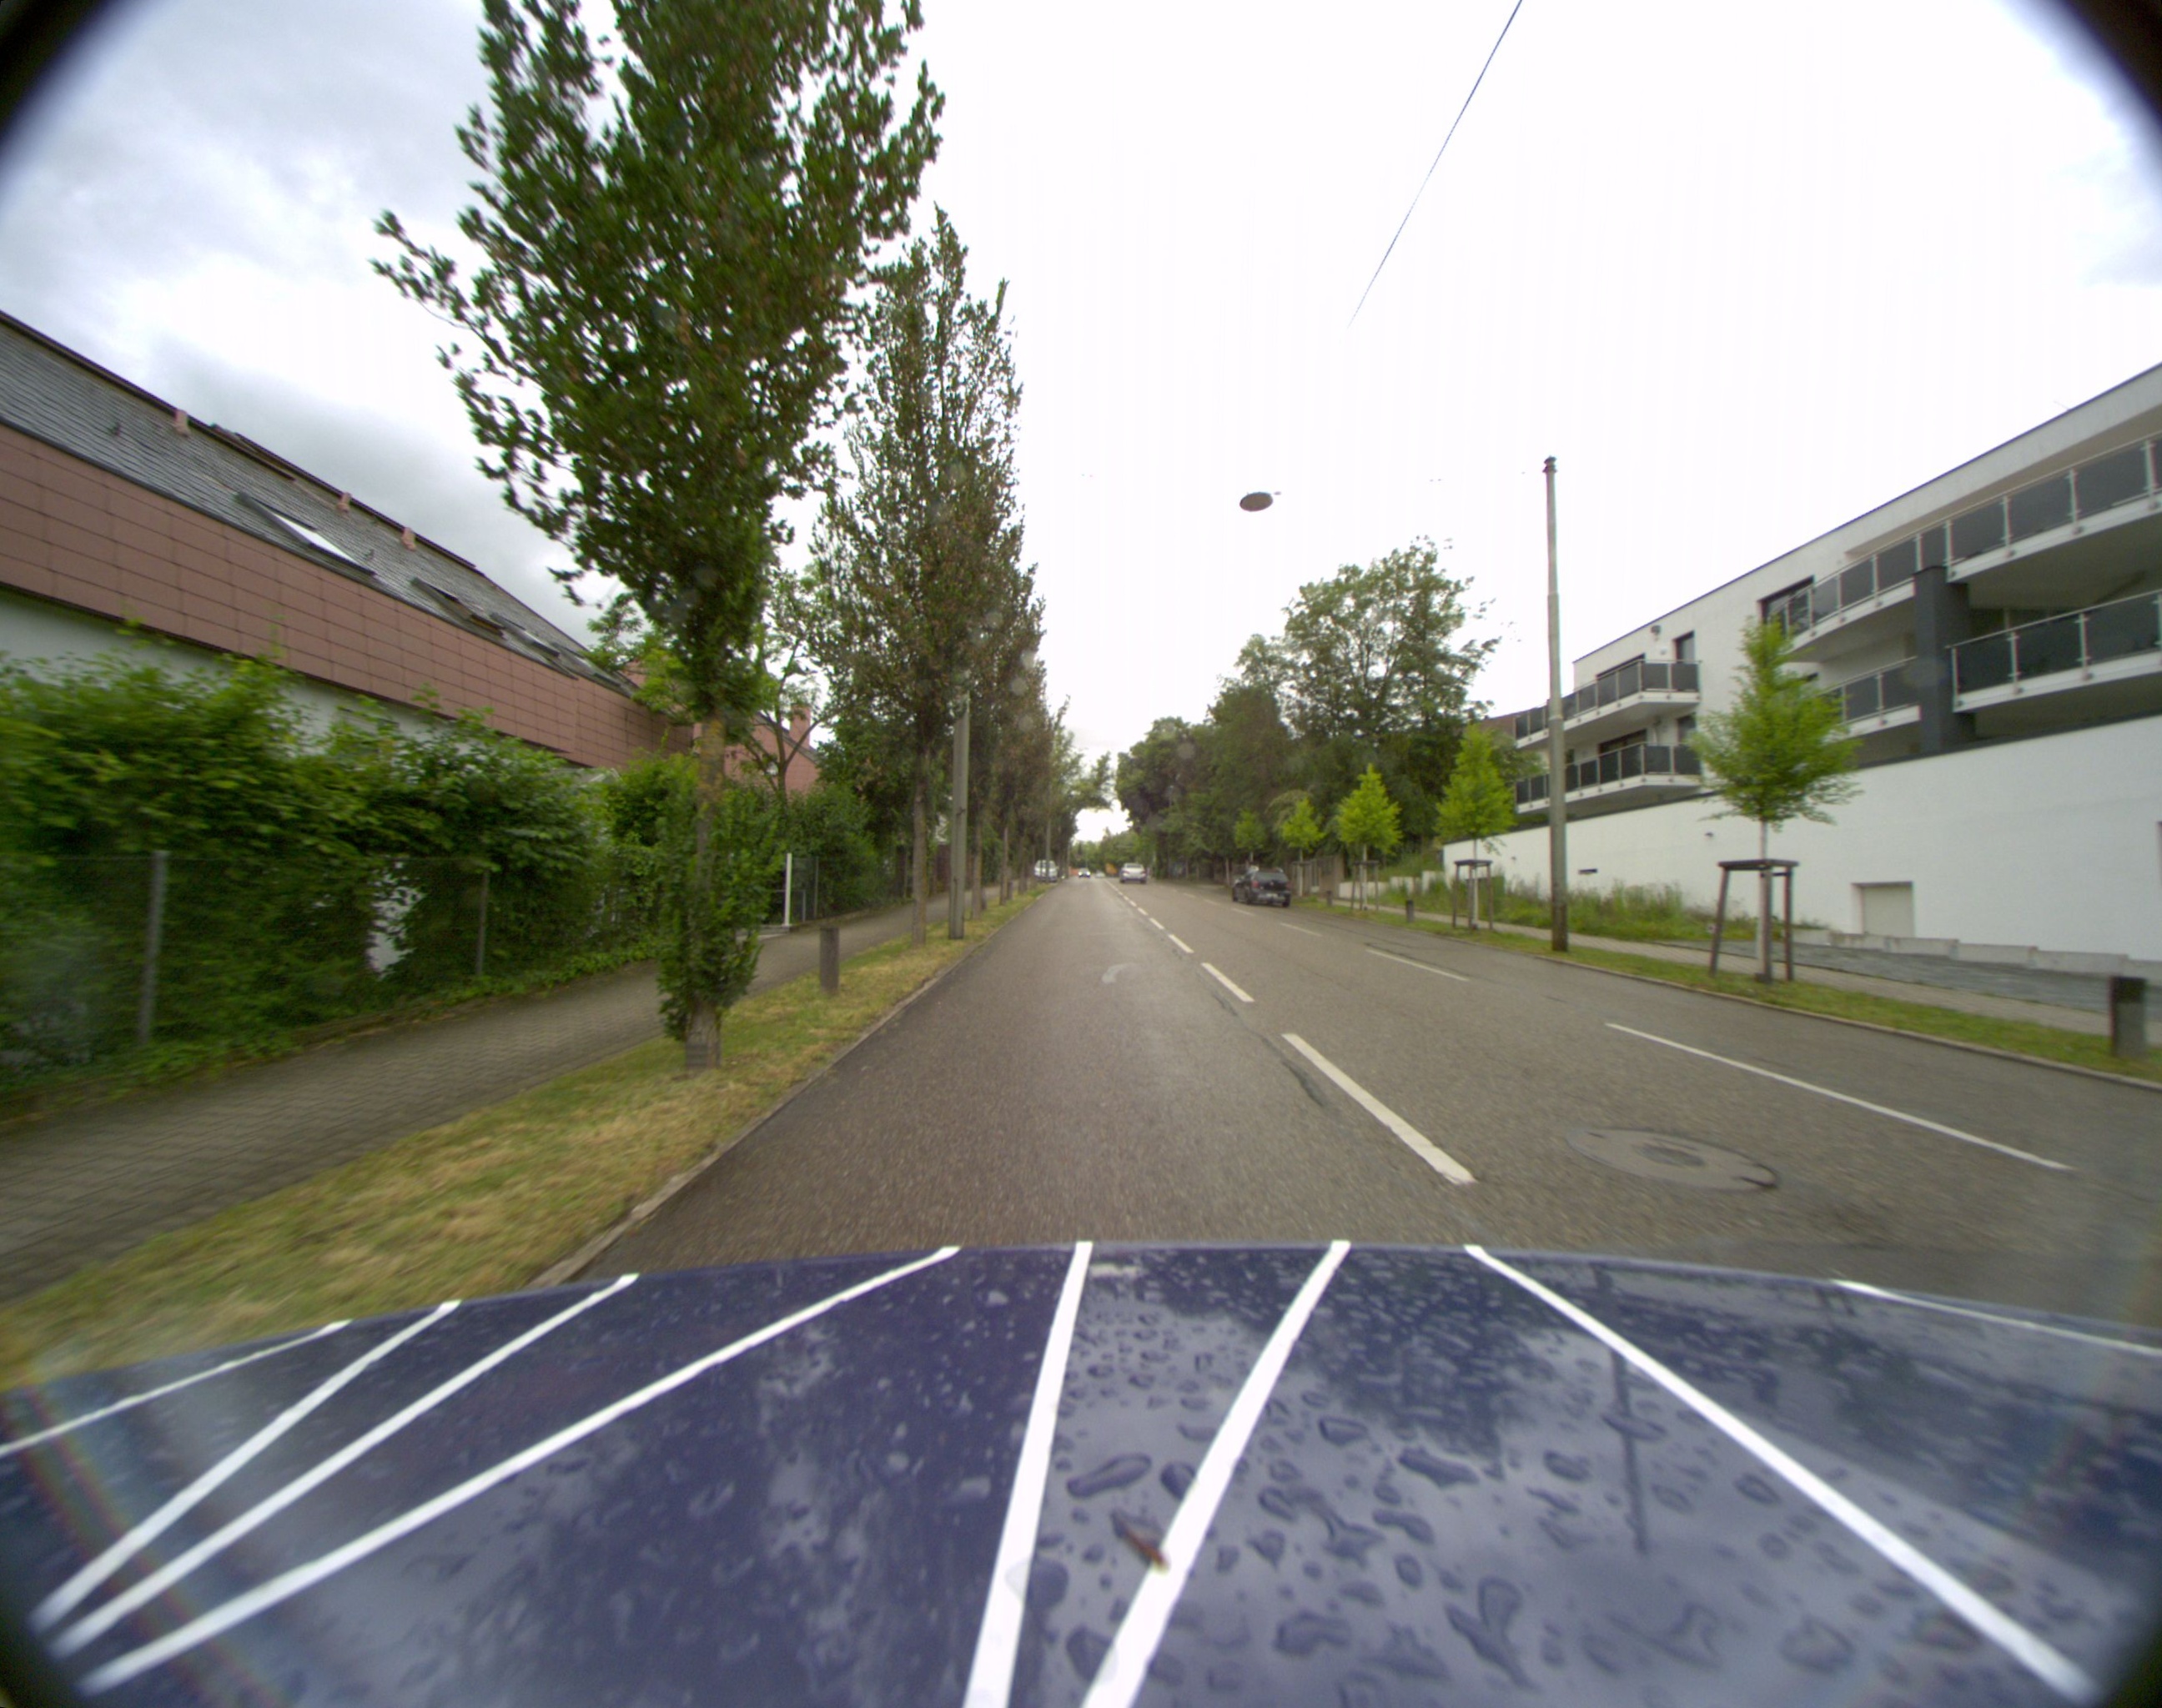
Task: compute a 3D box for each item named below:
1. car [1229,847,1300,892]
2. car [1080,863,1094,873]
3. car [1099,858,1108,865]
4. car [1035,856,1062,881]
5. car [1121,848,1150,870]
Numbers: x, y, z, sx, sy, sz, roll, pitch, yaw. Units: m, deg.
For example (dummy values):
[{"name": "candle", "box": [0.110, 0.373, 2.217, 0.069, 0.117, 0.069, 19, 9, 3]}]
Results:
[{"name": "car", "box": [7.140, 0.568, 29.940, 1.750, 1.540, 3.917, 3, 1, 0]}, {"name": "car", "box": [0.995, 2.343, 127.414, 1.998, 1.674, 4.001, -3, -1, 3]}, {"name": "car", "box": [4.511, 1.494, 153.137, 1.798, 1.500, 4.093, 0, 1, 0]}, {"name": "car", "box": [-2.331, 1.025, 55.761, 1.829, 1.620, 3.999, 2, 0, -1]}, {"name": "car", "box": [3.861, 0.352, 54.224, 1.766, 1.477, 4.000, 1, 1, 1]}]
